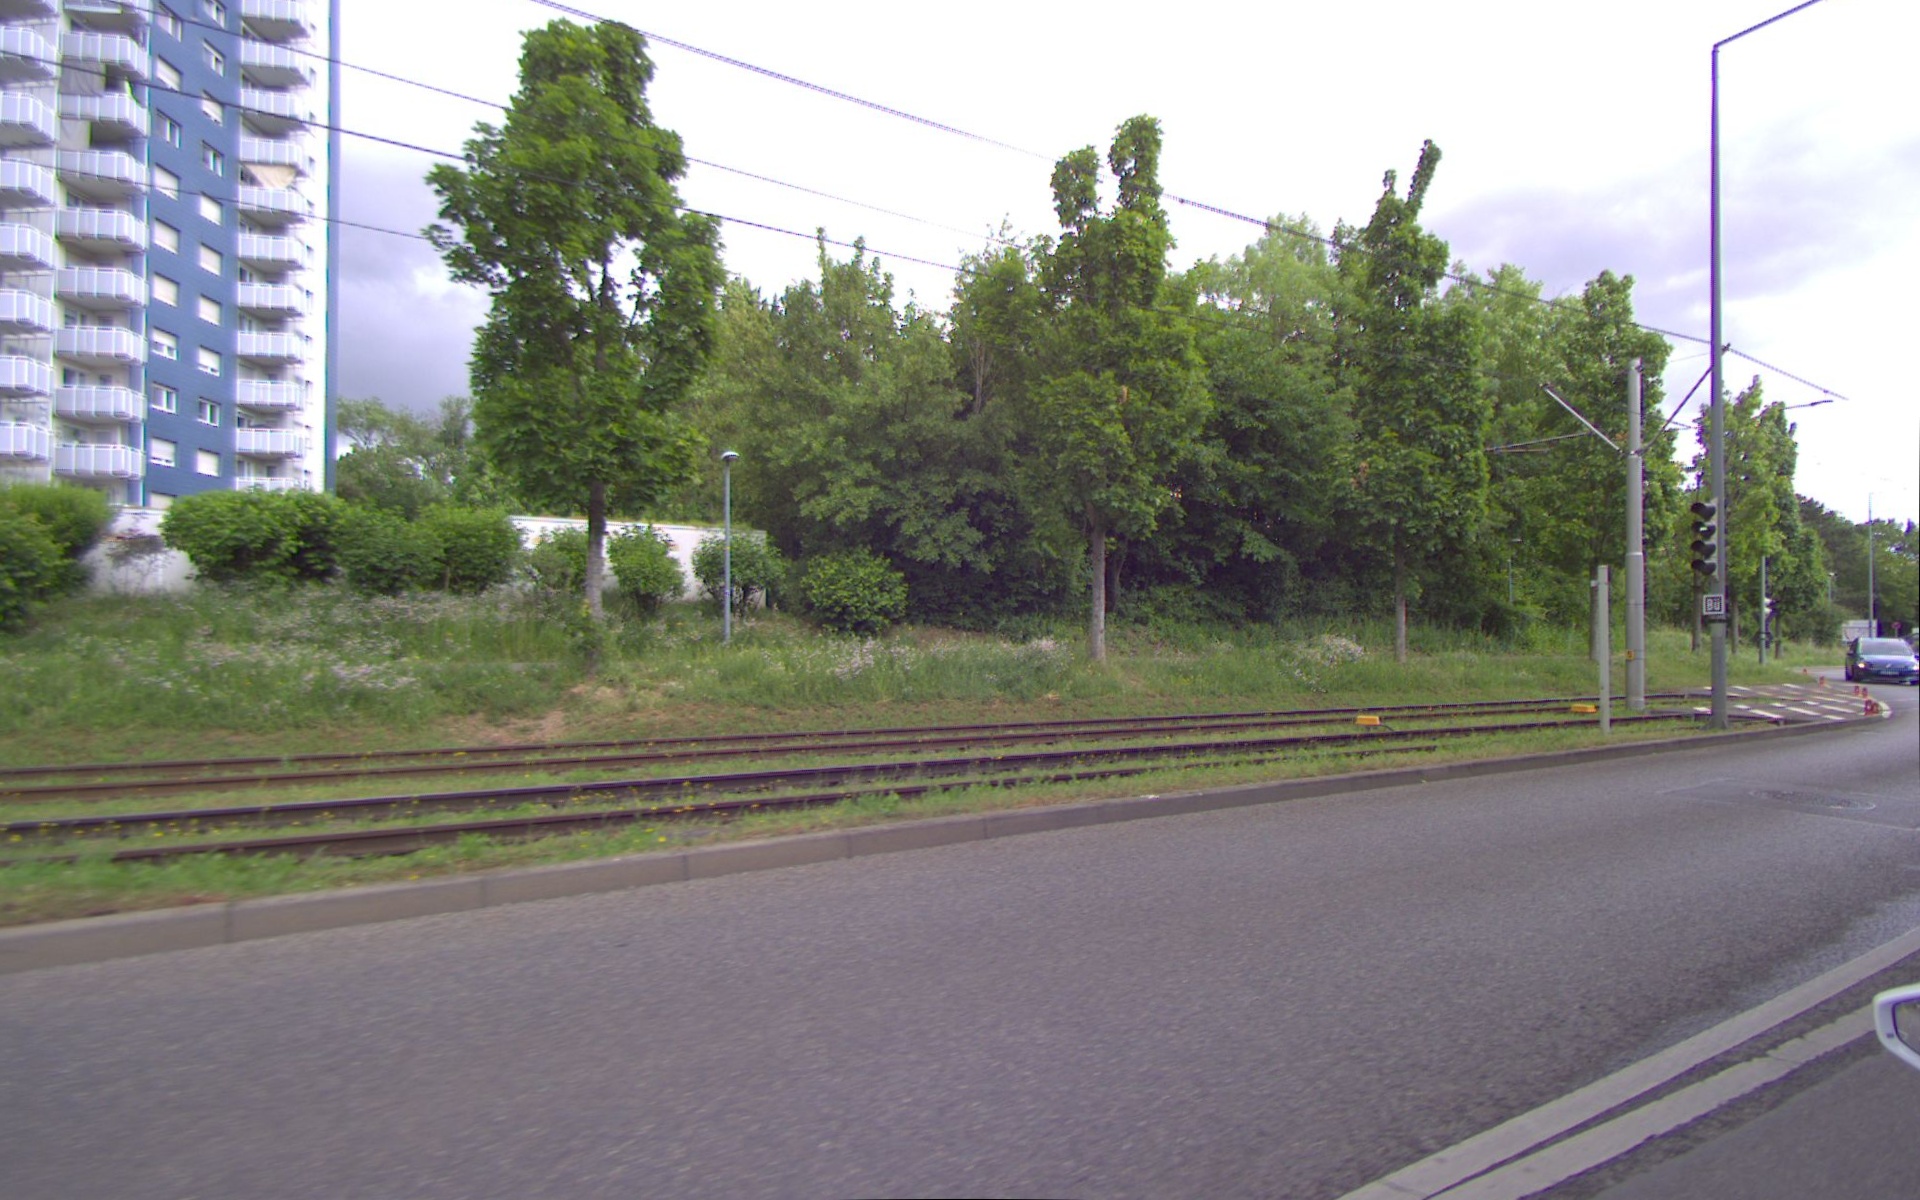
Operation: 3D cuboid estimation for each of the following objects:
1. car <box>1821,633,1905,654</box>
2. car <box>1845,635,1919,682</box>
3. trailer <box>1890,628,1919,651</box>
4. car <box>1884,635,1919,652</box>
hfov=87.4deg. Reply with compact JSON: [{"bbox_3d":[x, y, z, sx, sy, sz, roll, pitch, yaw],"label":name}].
[{"bbox_3d":[74.453,3.573,82.882,2.186,1.606,4.893,2,-2,-35],"label":"car"},{"bbox_3d":[33.734,2.102,36.847,1.846,1.541,4.217,0,-1,41],"label":"car"},{"bbox_3d":[87.504,3.616,91.332,1.887,2.040,3.966,2,-2,-32],"label":"trailer"},{"bbox_3d":[85.232,3.847,89.296,1.820,1.467,4.279,2,-4,-38],"label":"car"}]
